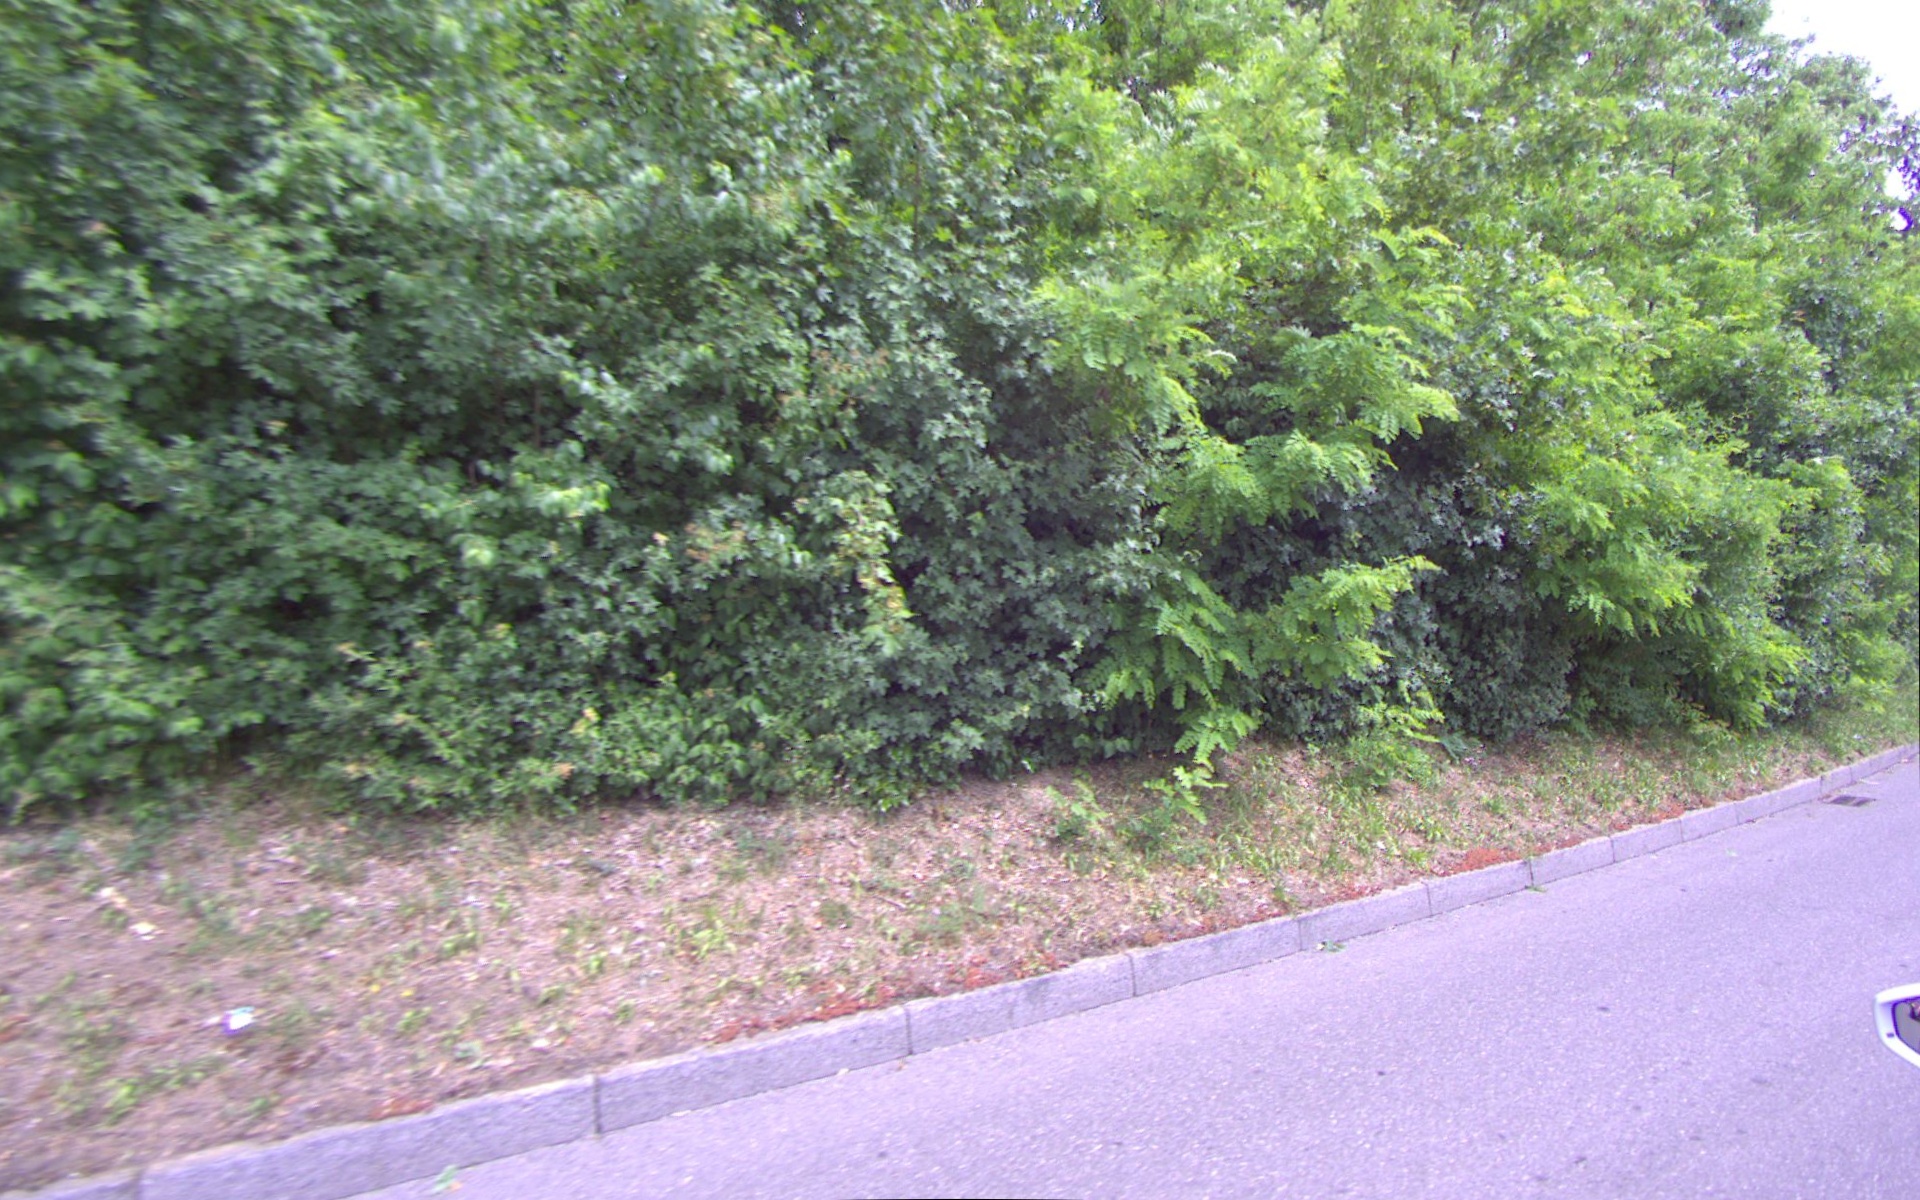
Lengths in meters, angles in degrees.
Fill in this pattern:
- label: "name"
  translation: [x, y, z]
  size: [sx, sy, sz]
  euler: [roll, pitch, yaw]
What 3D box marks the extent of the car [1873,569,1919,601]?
- label: "car"
  translation: [46.611, -0.755, 48.801]
  size: [1.856, 1.395, 4.348]
  euler: [2, 4, 22]
